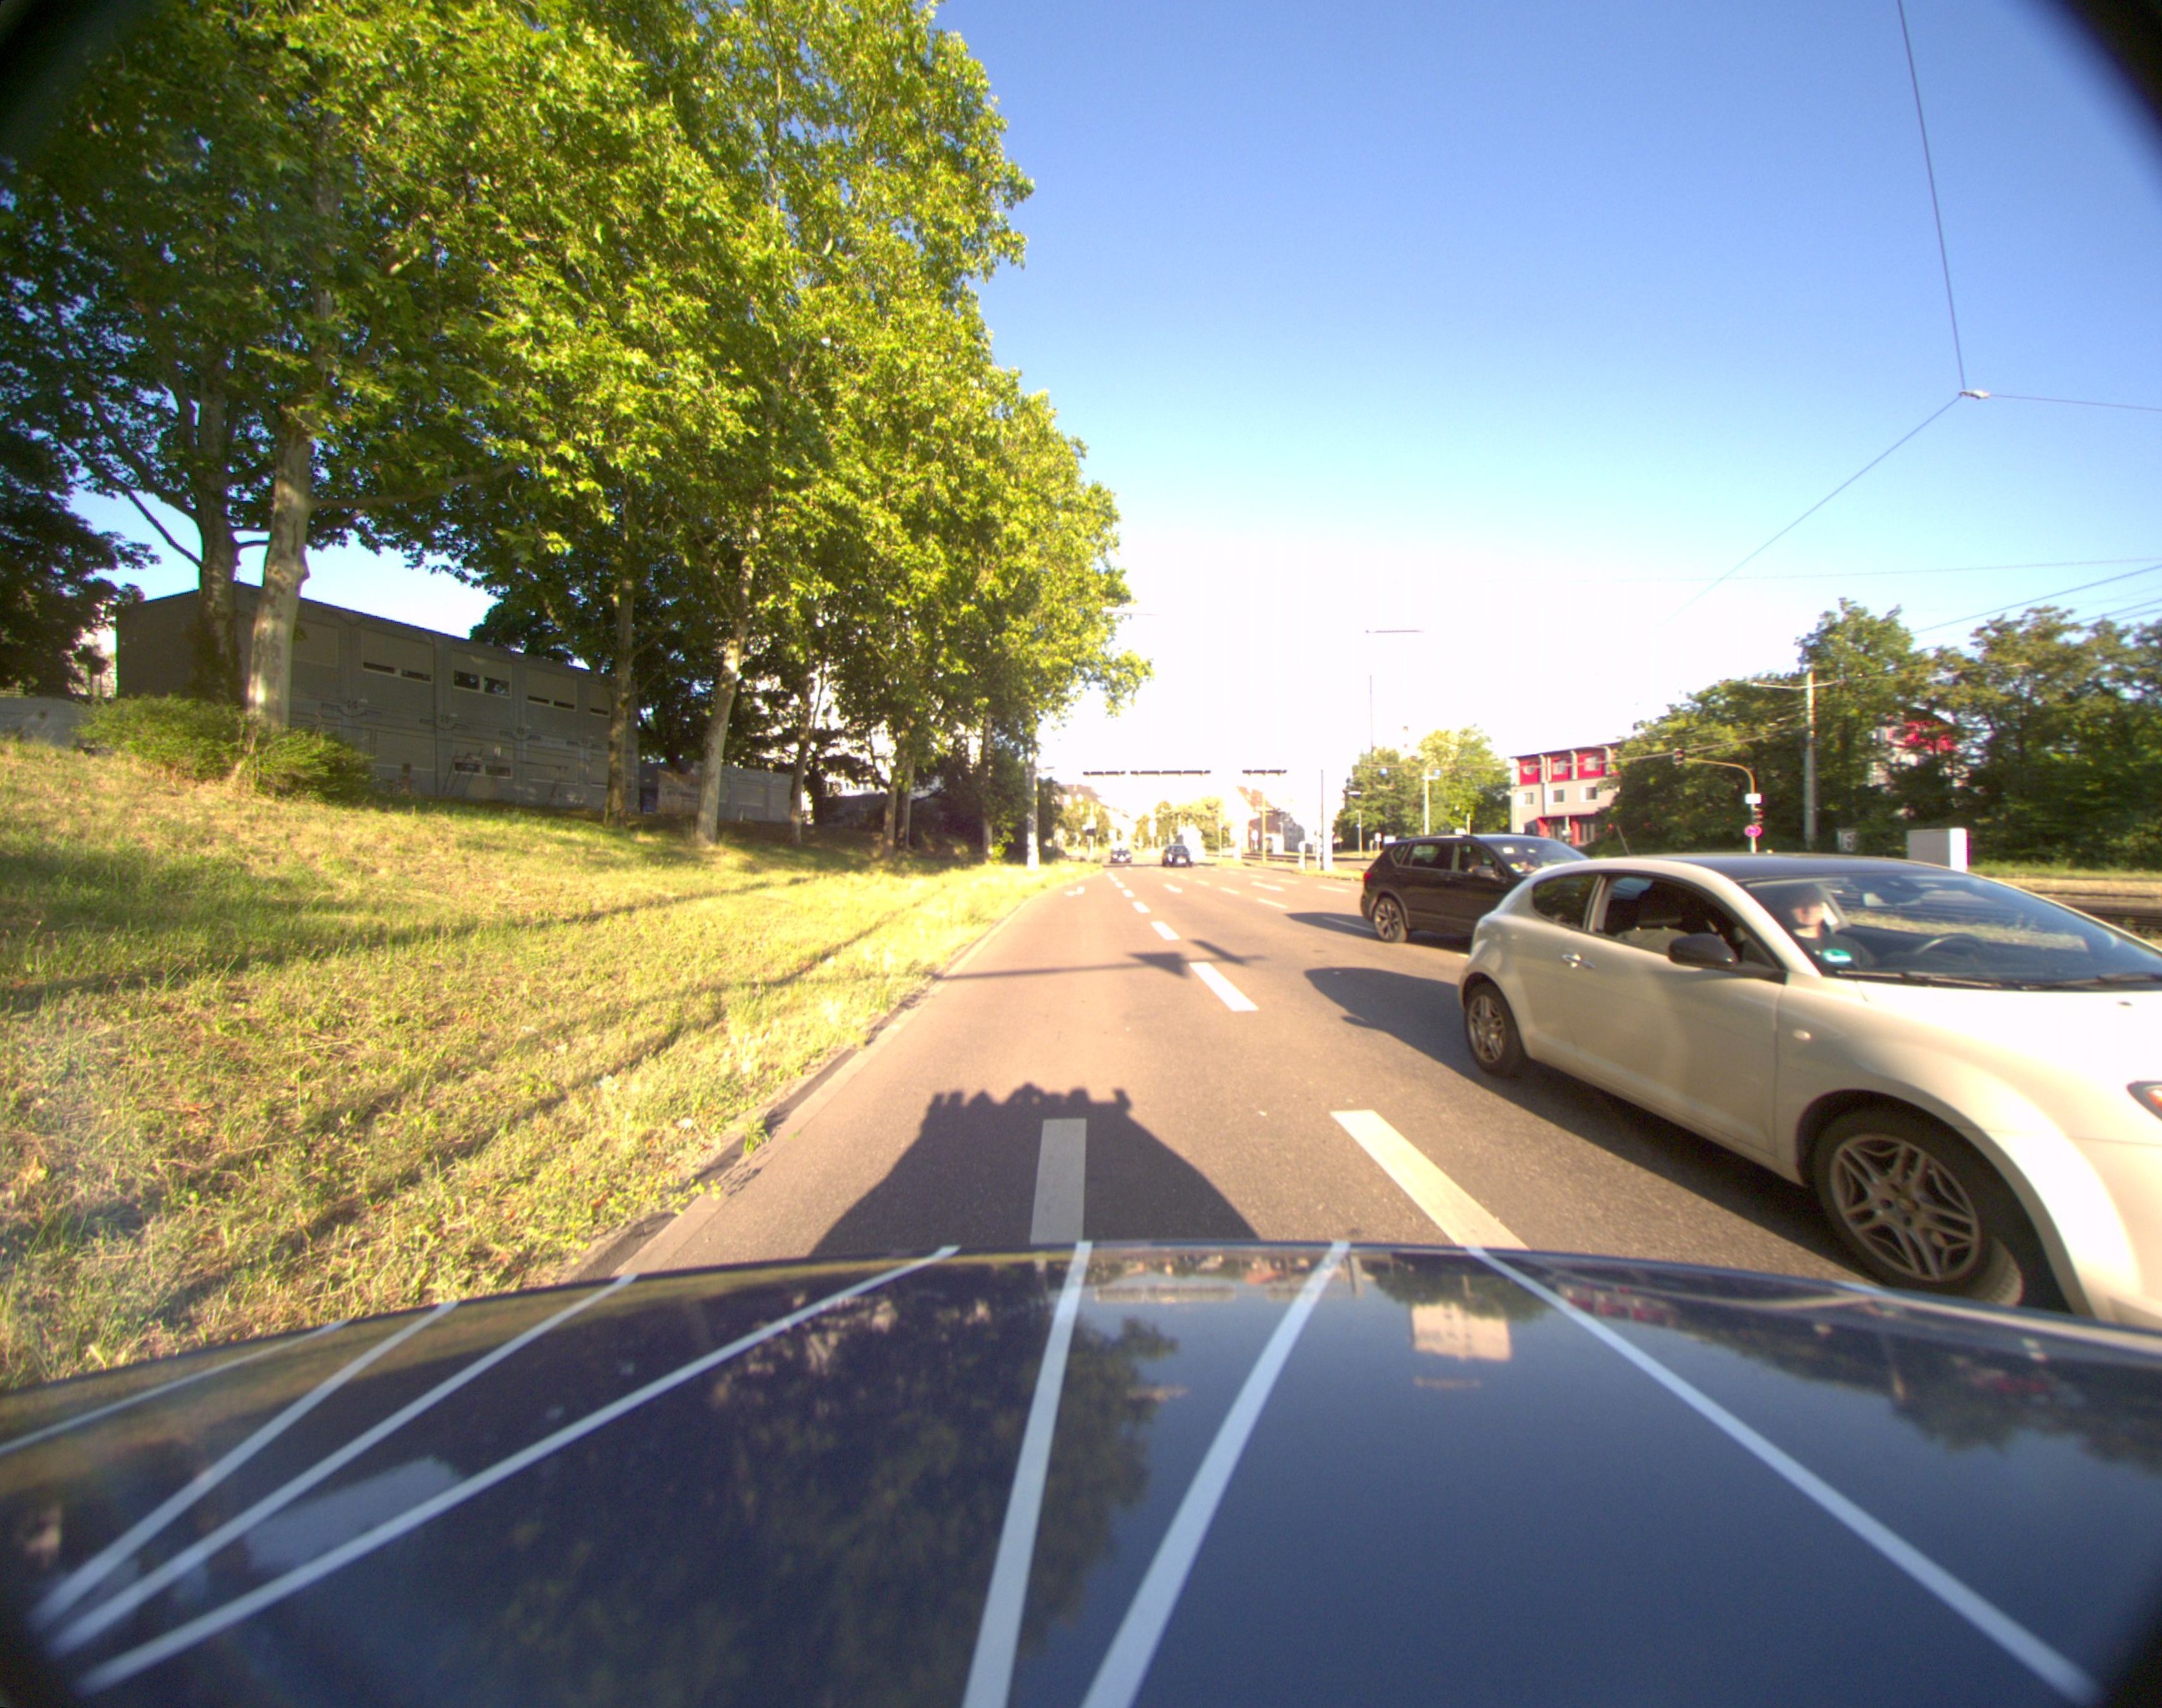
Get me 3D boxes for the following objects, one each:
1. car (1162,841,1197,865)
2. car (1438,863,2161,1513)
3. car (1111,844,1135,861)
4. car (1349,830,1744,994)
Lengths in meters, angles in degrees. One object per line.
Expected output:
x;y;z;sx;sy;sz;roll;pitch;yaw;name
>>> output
7.071;-0.070;54.887;1.906;1.652;4.275;-1;0;-2;car
3.449;0.827;3.456;1.741;1.496;3.999;-1;0;-1;car
3.665;-0.135;66.721;1.741;1.429;3.999;-2;1;-1;car
5.850;0.602;10.391;1.820;1.670;4.617;-2;0;-15;car
